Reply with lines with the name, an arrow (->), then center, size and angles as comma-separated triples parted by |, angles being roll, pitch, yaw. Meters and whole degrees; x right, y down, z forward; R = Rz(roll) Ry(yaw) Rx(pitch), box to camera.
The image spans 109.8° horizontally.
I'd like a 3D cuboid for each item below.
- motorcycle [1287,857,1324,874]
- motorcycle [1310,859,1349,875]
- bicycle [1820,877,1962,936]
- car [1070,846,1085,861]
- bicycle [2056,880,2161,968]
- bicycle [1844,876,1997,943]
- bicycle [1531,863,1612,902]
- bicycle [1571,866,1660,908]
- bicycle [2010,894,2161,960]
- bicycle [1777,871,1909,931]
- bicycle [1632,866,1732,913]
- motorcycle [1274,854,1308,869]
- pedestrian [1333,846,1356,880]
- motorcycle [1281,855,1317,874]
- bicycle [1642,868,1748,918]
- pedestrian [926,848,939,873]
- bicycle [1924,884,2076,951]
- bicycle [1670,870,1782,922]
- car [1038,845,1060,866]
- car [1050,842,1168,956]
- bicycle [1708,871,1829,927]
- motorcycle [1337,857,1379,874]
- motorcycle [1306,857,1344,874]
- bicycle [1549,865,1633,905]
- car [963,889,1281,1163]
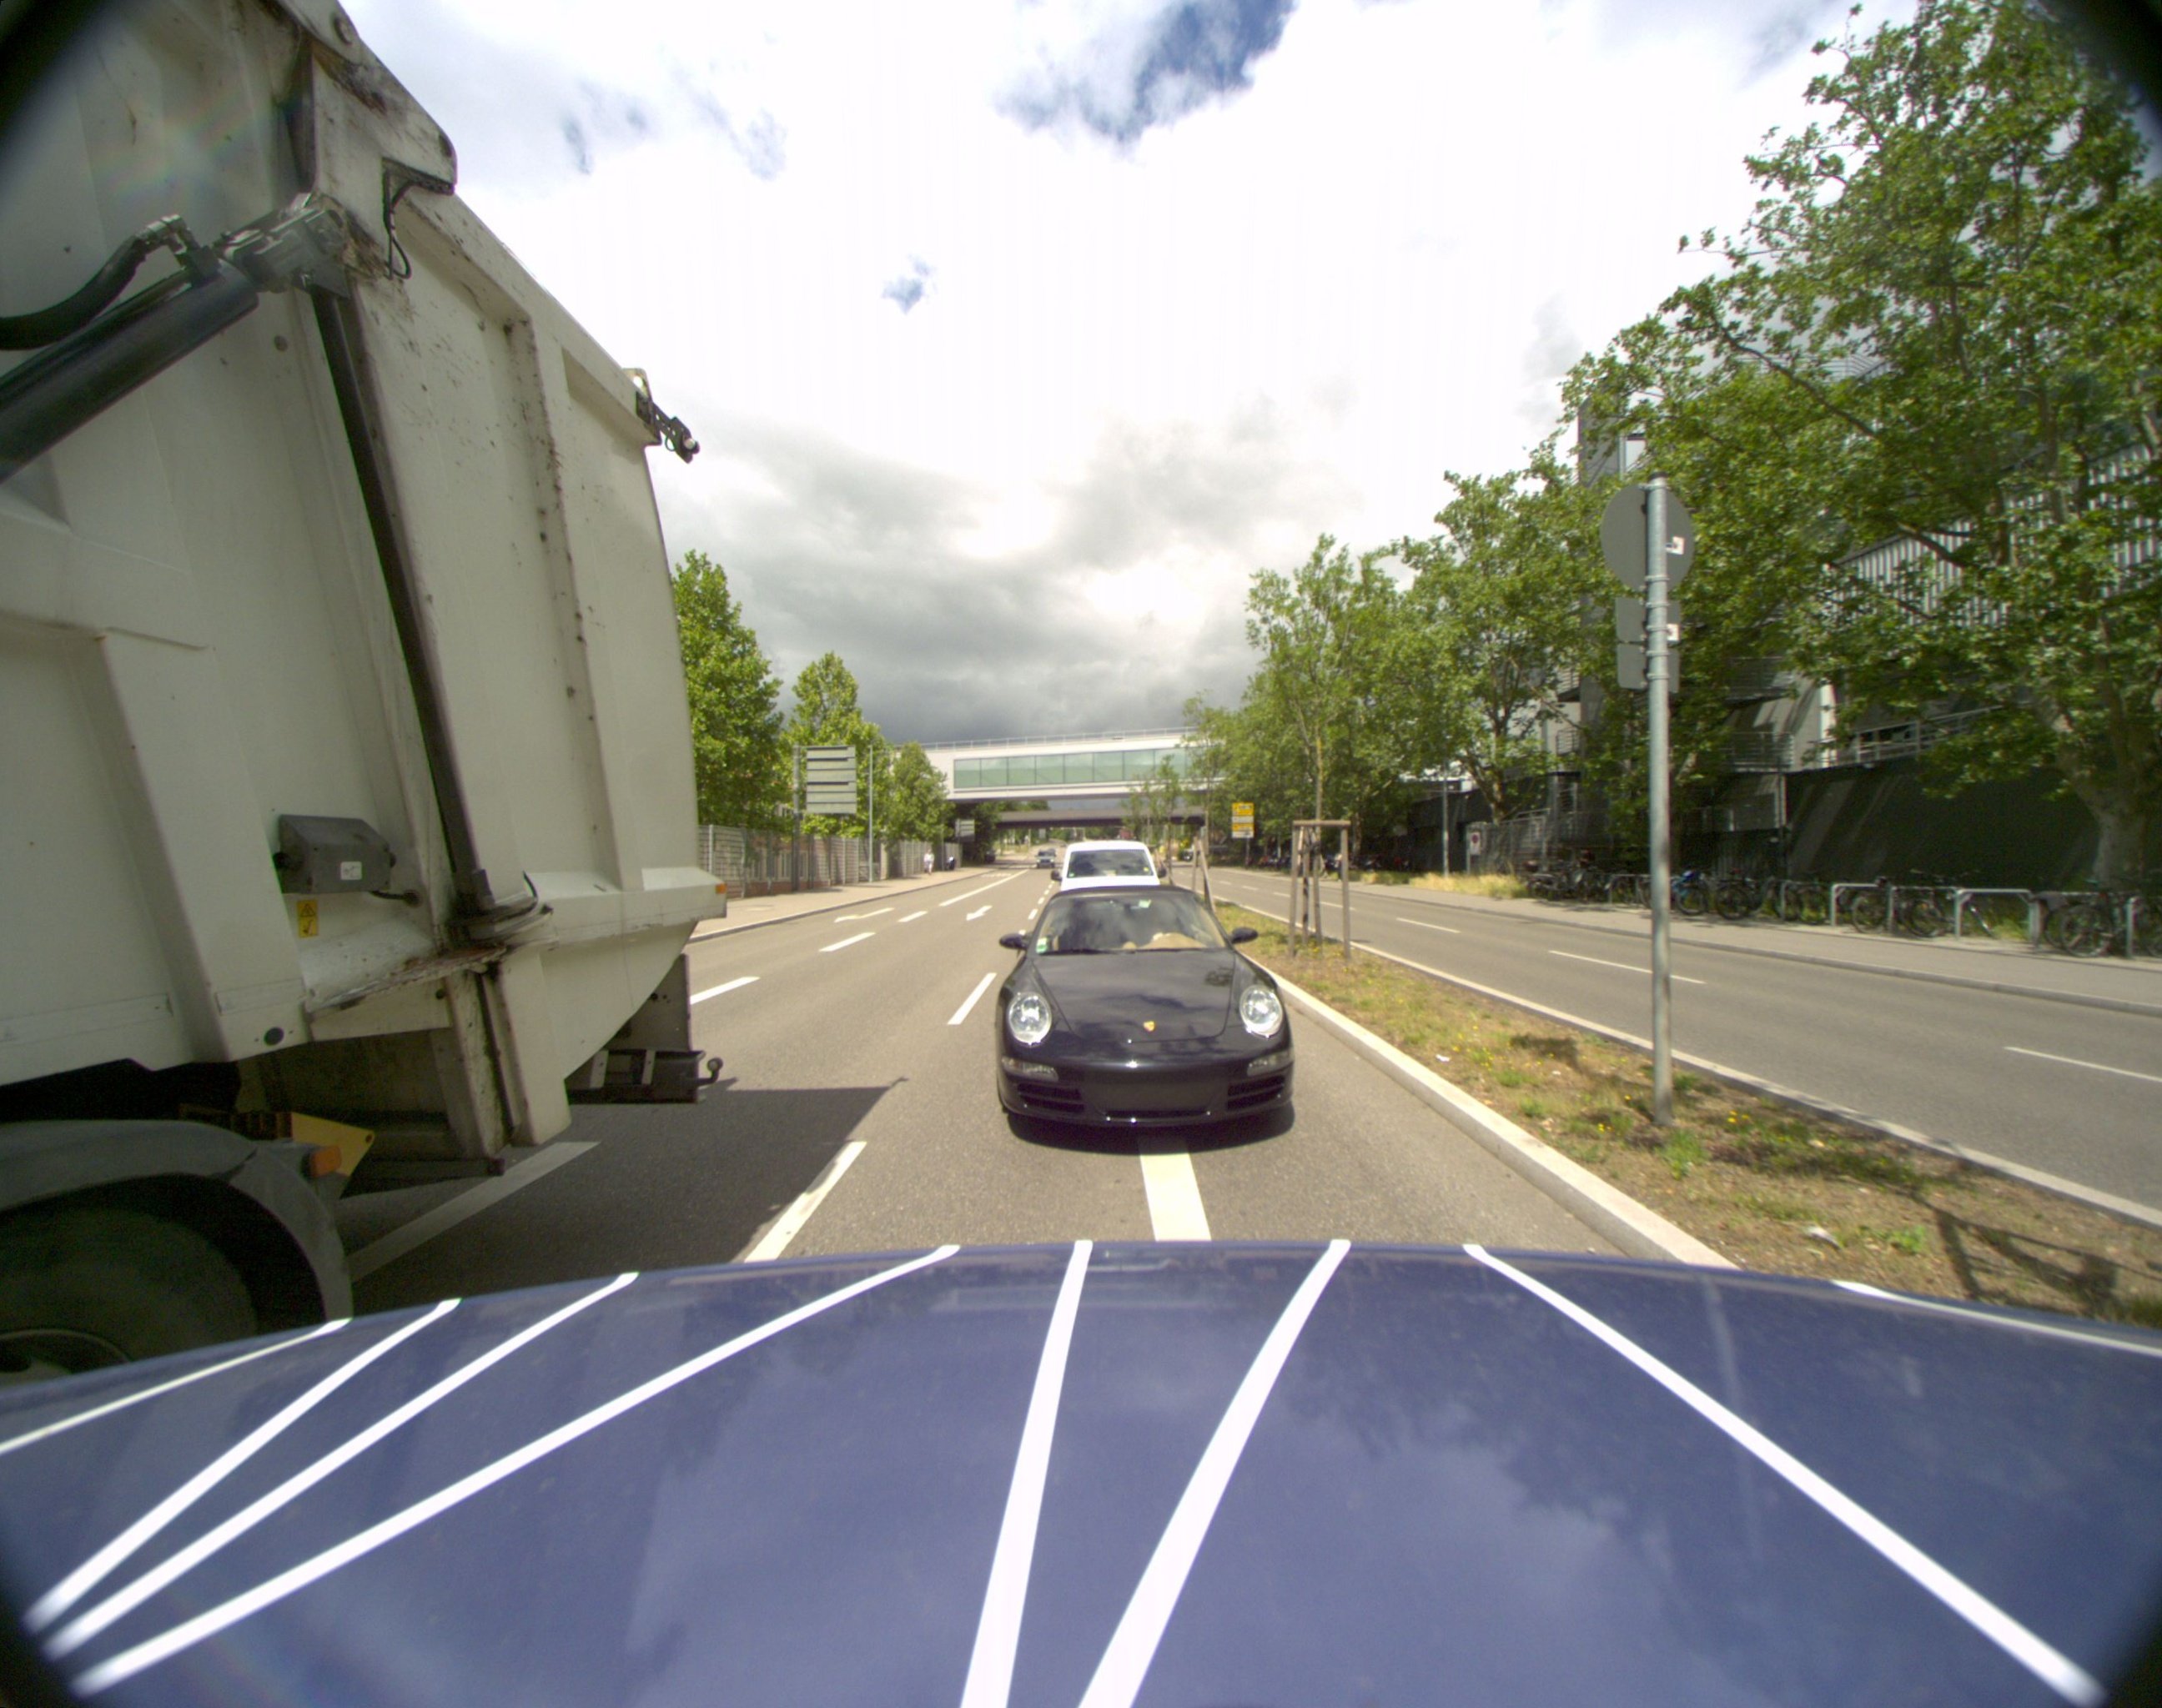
motorcycle -> 14.076, 0.709, 47.650 | 2.133, 0.963, 0.534 | -1, 0, 1
motorcycle -> 14.608, 0.752, 44.722 | 2.133, 0.880, 0.534 | -1, 0, 1
bicycle -> 15.020, 0.968, 14.115 | 2.129, 1.025, 0.382 | -1, 1, 3
car -> -0.408, -0.055, 98.731 | 1.862, 1.800, 4.357 | -3, 0, 1
bicycle -> 14.362, 0.927, 10.238 | 1.993, 1.121, 0.382 | -1, 1, -1
bicycle -> 14.587, 0.956, 13.221 | 2.129, 1.089, 0.382 | -1, 1, 3
bicycle -> 14.759, 0.864, 22.863 | 2.129, 1.104, 0.382 | -1, 1, 3
bicycle -> 14.832, 0.914, 21.098 | 2.129, 1.104, 0.382 | -1, 1, 3
bicycle -> 14.965, 1.071, 11.241 | 1.993, 0.885, 0.382 | -1, 1, -1
bicycle -> 15.050, 0.926, 15.021 | 2.129, 1.104, 0.382 | -1, 1, 3
bicycle -> 15.074, 0.894, 19.086 | 2.129, 1.104, 0.382 | -1, 1, 3
motorcycle -> 14.333, 0.515, 51.814 | 2.133, 0.963, 0.534 | -1, 0, 1
pedestrian -> 13.294, 0.437, 38.310 | 0.900, 1.710, 0.673 | -1, 1, 1
motorcycle -> 14.096, 0.667, 49.116 | 2.133, 1.131, 0.534 | -1, 0, 1
bicycle -> 14.514, 0.923, 17.971 | 2.129, 1.104, 0.382 | -1, 1, 3
pedestrian -> -11.325, 0.479, 57.967 | 0.739, 1.901, 0.658 | -2, 1, -1
bicycle -> 14.761, 1.013, 12.220 | 1.993, 0.992, 0.382 | -1, 1, -1
bicycle -> 14.489, 0.931, 17.085 | 2.129, 1.104, 0.382 | -1, 1, 3
car -> -3.434, 0.165, 81.952 | 1.925, 2.082, 4.657 | -1, 0, 2
car -> 0.479, 0.725, 14.686 | 1.862, 1.800, 4.906 | -1, 0, 1
bicycle -> 14.510, 0.943, 16.060 | 2.129, 1.104, 0.382 | -1, 1, 3
motorcycle -> 15.464, 0.663, 42.474 | 2.133, 0.893, 0.534 | -1, 0, 1
motorcycle -> 14.675, 0.682, 45.687 | 2.133, 0.963, 0.534 | -1, 0, 1
bicycle -> 14.763, 0.901, 22.021 | 2.129, 1.104, 0.382 | -1, 1, 3
car -> 0.251, 1.034, 6.059 | 1.710, 1.280, 3.806 | -1, 0, 1
